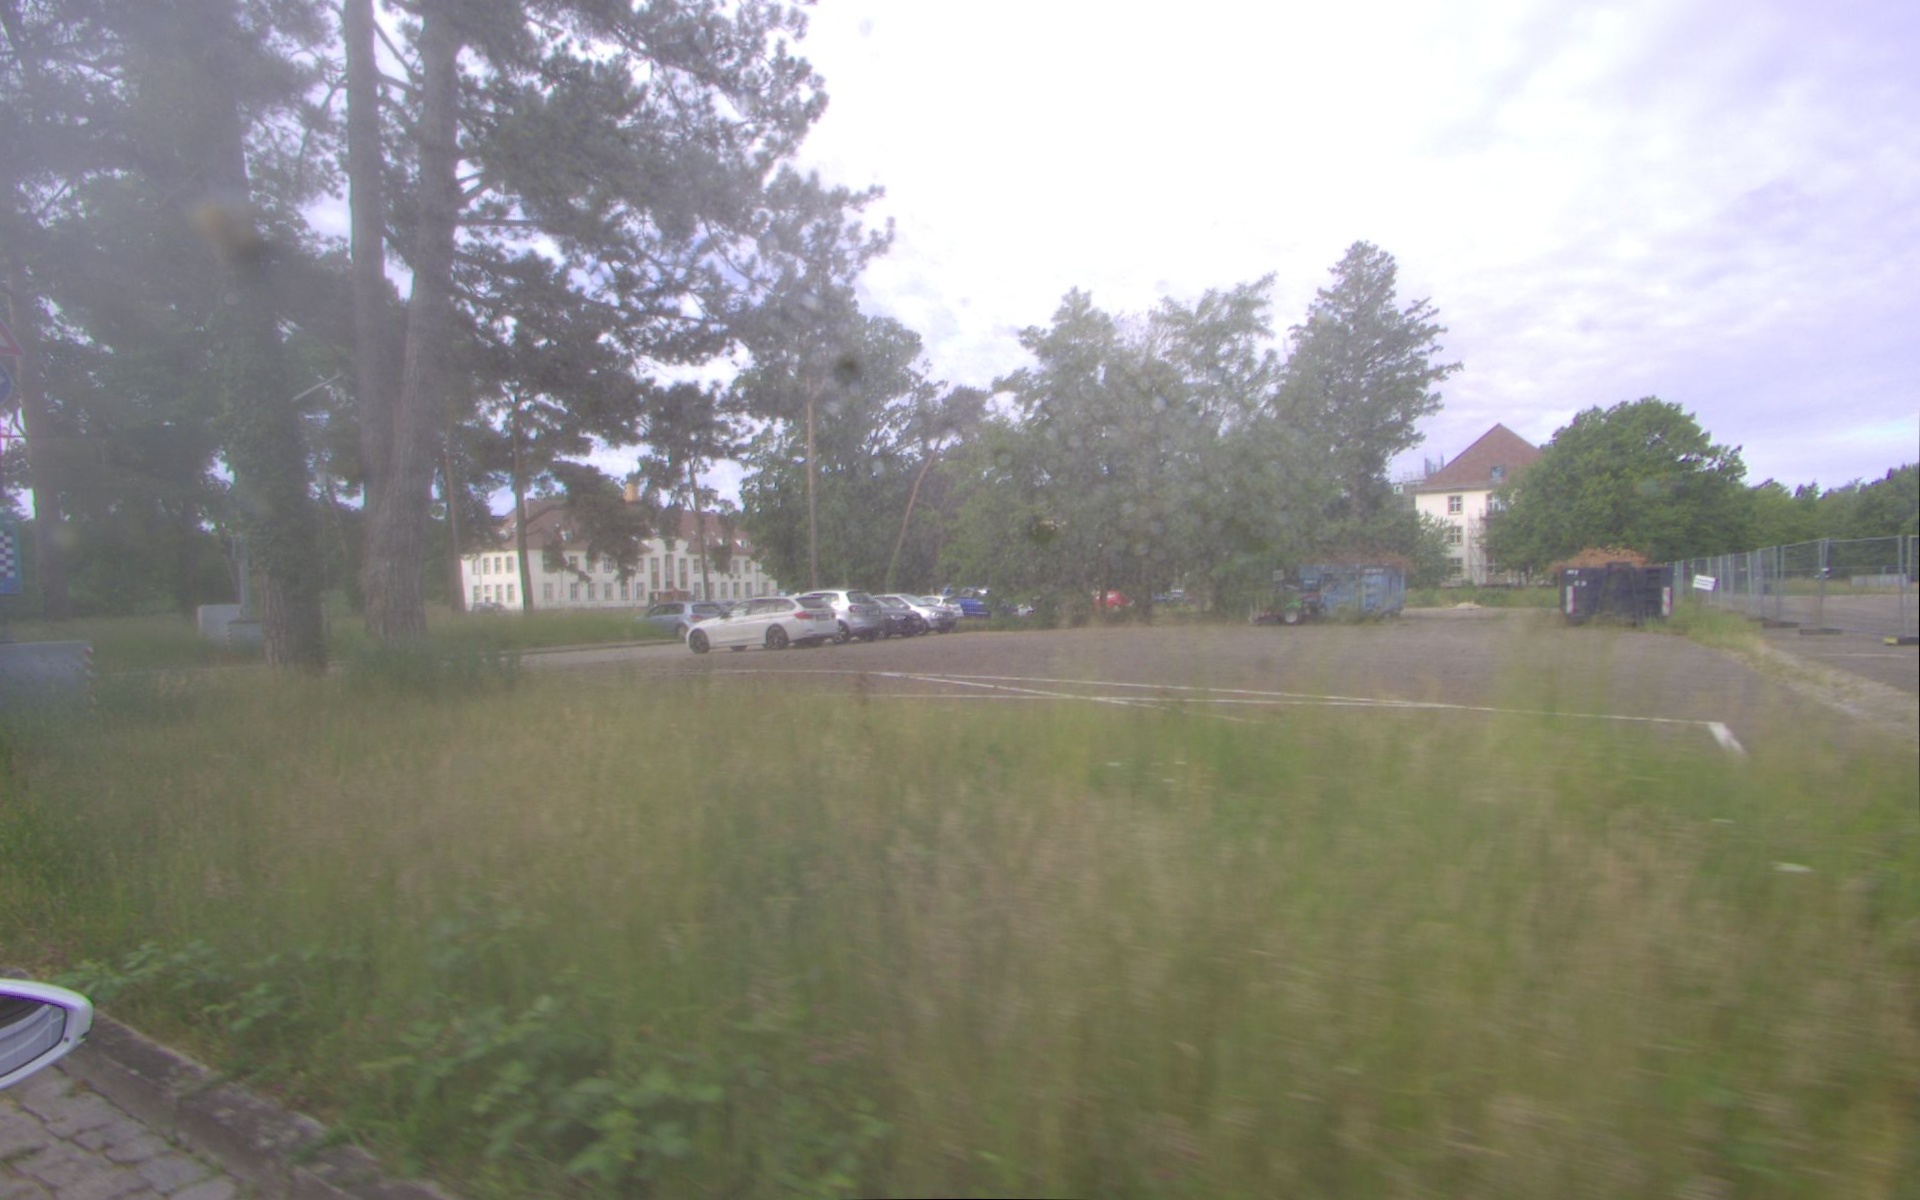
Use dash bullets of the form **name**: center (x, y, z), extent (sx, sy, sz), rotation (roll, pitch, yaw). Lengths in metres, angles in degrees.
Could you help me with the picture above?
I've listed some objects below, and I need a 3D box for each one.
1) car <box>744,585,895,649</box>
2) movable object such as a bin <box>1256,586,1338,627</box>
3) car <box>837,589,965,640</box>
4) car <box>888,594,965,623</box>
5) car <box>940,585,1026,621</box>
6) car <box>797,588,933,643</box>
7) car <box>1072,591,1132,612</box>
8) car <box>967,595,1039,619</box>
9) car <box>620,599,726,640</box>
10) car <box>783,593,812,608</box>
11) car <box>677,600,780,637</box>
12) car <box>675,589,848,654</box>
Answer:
- **car**: center (-4.208, 0.507, 29.834), extent (4.181, 1.626, 1.779), rotation (-4, -1, 29)
- **movable object such as a bin**: center (9.704, 0.199, 28.836), extent (2.176, 1.149, 0.960), rotation (-1, -1, 23)
- **car**: center (-2.079, 0.522, 34.833), extent (4.186, 1.504, 1.696), rotation (-4, -1, 33)
- **car**: center (-1.869, 0.487, 55.326), extent (4.190, 1.522, 1.610), rotation (-1, 1, 38)
- **car**: center (1.337, 0.179, 59.737), extent (4.724, 2.053, 2.130), rotation (-1, 1, 34)
- **car**: center (-3.095, 0.523, 32.238), extent (4.186, 1.504, 1.696), rotation (-4, -1, 33)
- **car**: center (10.780, 0.097, 76.033), extent (4.183, 1.542, 1.730), rotation (-1, 1, 32)
- **car**: center (2.621, 0.429, 61.830), extent (4.184, 1.409, 1.729), rotation (-1, 1, 34)
- **car**: center (-11.358, 0.770, 39.597), extent (4.184, 1.529, 1.729), rotation (-1, 1, 33)
- **car**: center (-22.877, 0.096, 141.210), extent (1.899, 1.930, 4.056), rotation (-1, -1, 29)
- **car**: center (-9.640, 0.758, 41.621), extent (4.184, 1.487, 1.729), rotation (-1, 1, 33)
- **car**: center (-5.481, 0.608, 27.518), extent (4.542, 1.505, 1.846), rotation (-4, -2, 29)
